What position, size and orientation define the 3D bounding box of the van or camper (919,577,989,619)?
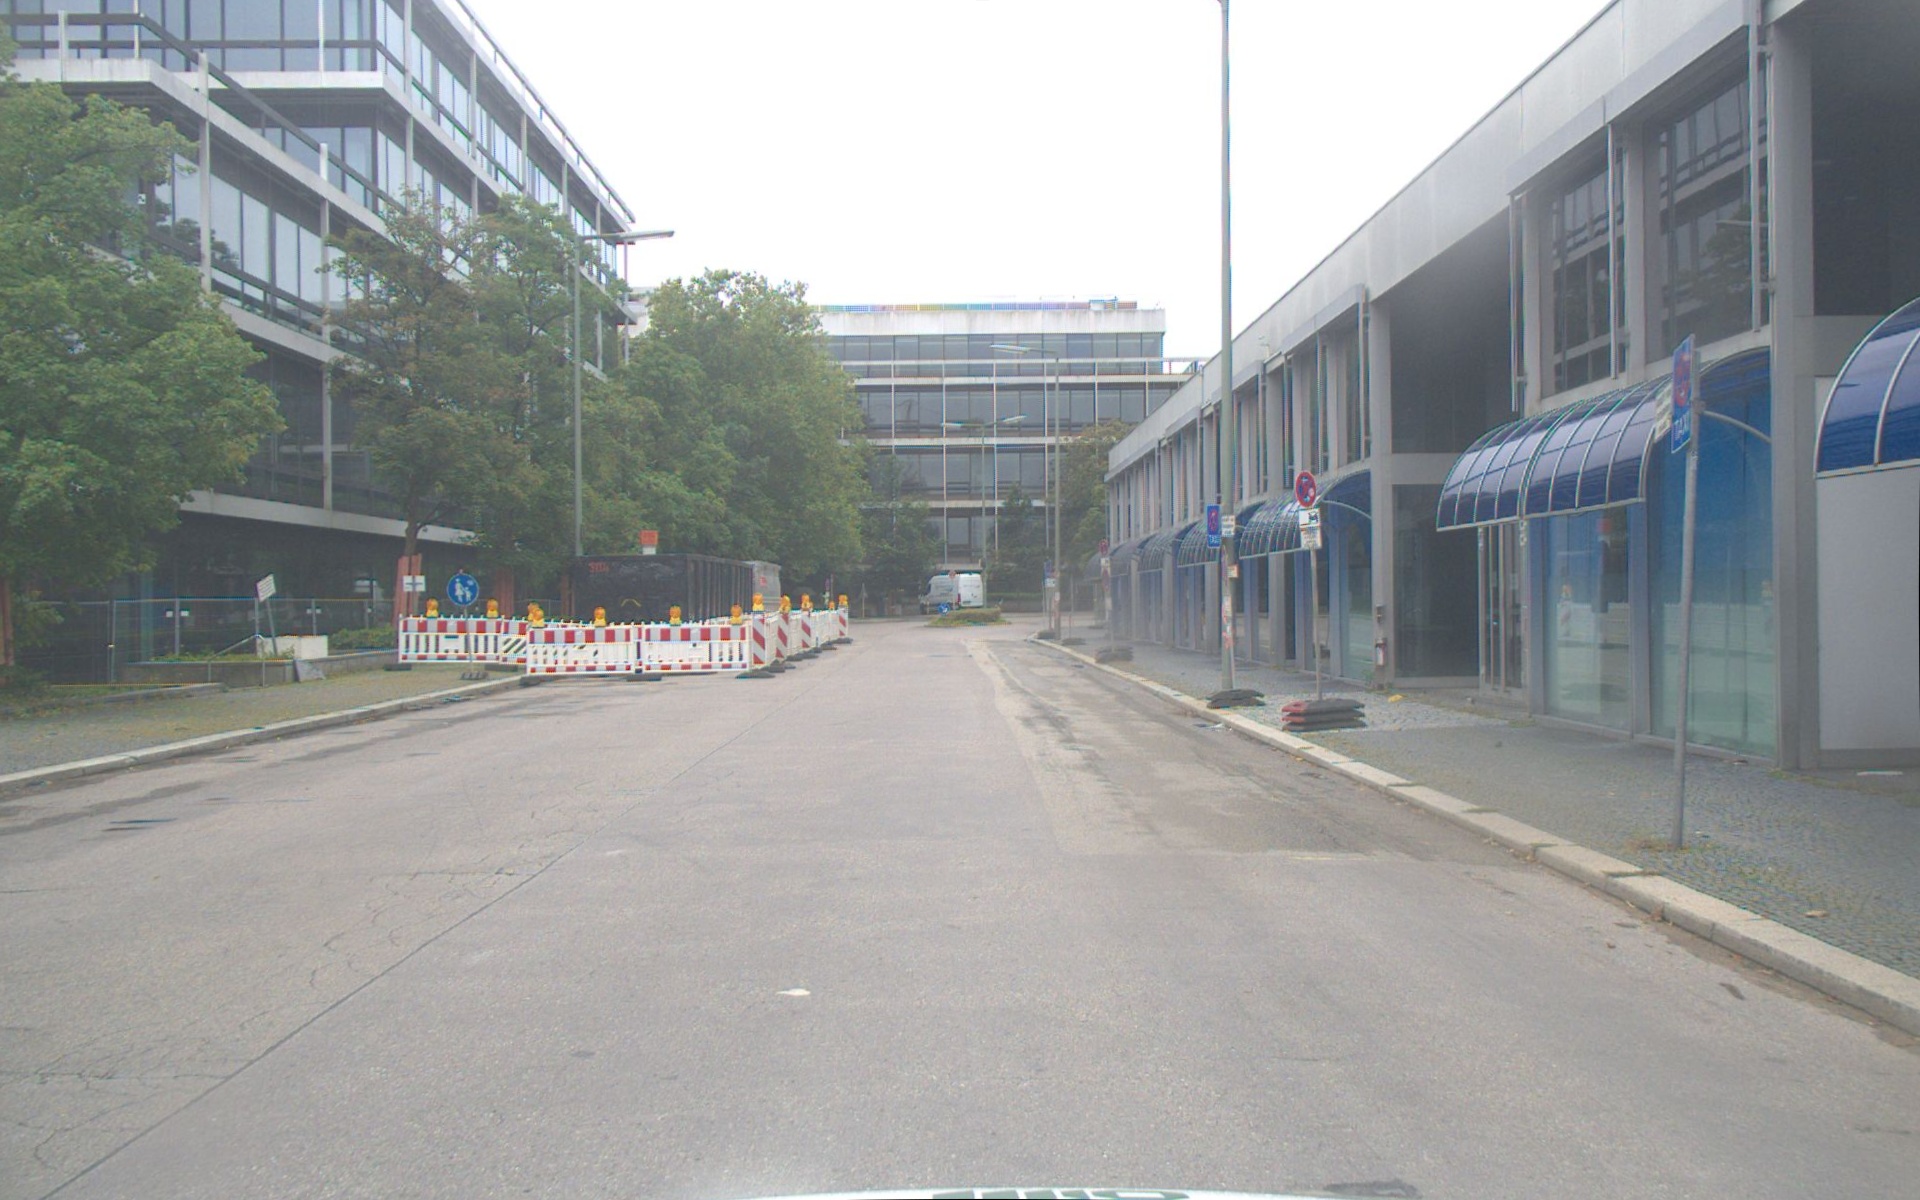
[{"bbox_3d":[-0.468,-0.113,111.371,2.129,2.626,6.483,0,-2,-26],"label":"van or camper"}]
